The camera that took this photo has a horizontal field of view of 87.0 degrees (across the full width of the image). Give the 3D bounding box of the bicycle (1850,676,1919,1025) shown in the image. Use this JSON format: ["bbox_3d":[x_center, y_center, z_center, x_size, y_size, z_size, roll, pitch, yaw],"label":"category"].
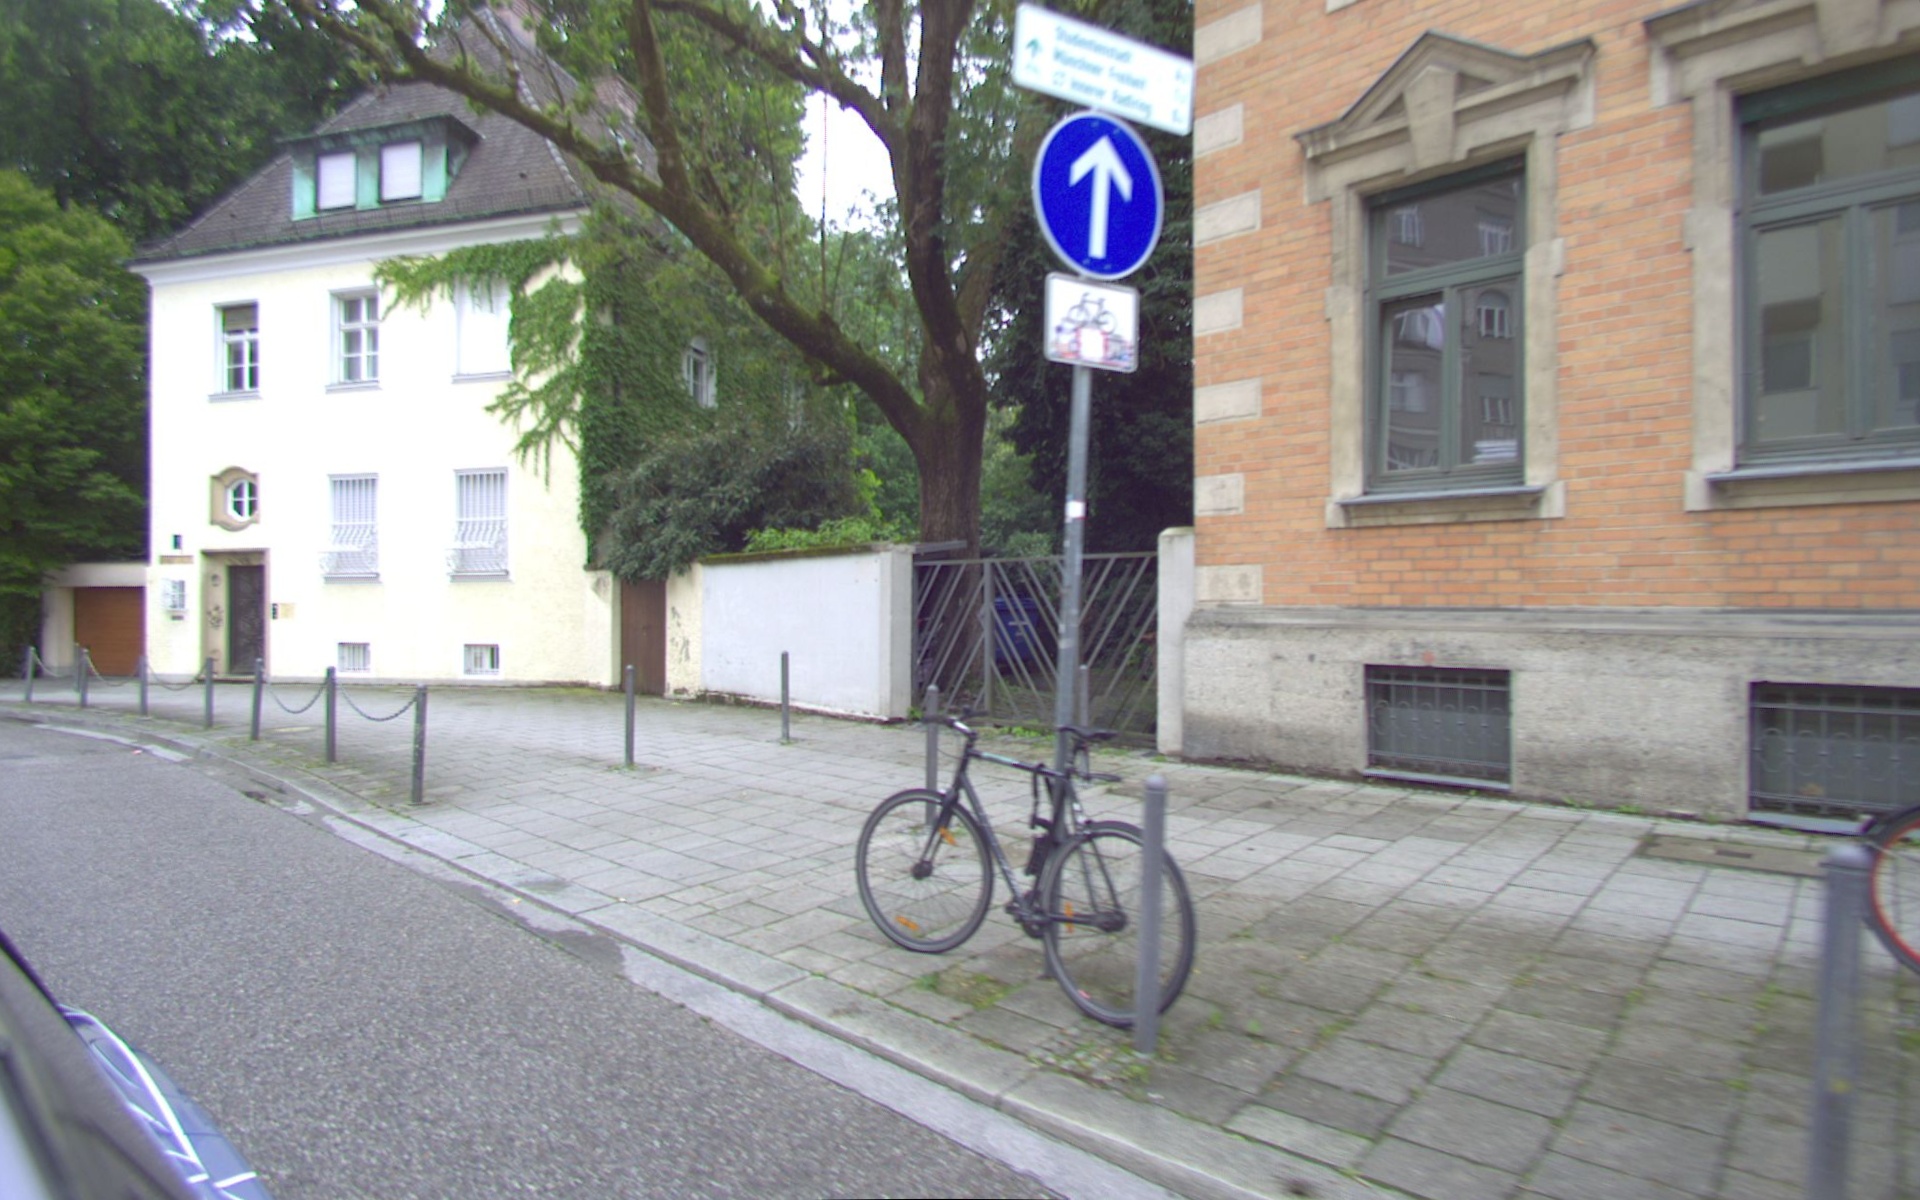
[{"bbox_3d":[3.782,0.810,2.827,0.572,1.062,1.897,0,0,-43],"label":"bicycle"}]

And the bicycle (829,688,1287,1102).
[{"bbox_3d":[0.263,0.922,3.766,0.572,1.062,1.764,1,-1,-43],"label":"bicycle"}]

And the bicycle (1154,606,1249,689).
[{"bbox_3d":[3.759,0.696,15.606,0.535,1.194,2.272,0,-1,38],"label":"bicycle"}]

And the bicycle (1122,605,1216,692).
[{"bbox_3d":[3.348,0.733,16.043,0.535,1.293,2.272,0,-1,38],"label":"bicycle"}]

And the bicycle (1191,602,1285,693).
[{"bbox_3d":[4.187,0.681,15.127,0.535,1.261,2.272,0,-1,38],"label":"bicycle"}]

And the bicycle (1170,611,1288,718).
[{"bbox_3d":[3.371,0.758,12.559,0.536,1.228,2.053,0,-1,42],"label":"bicycle"}]
